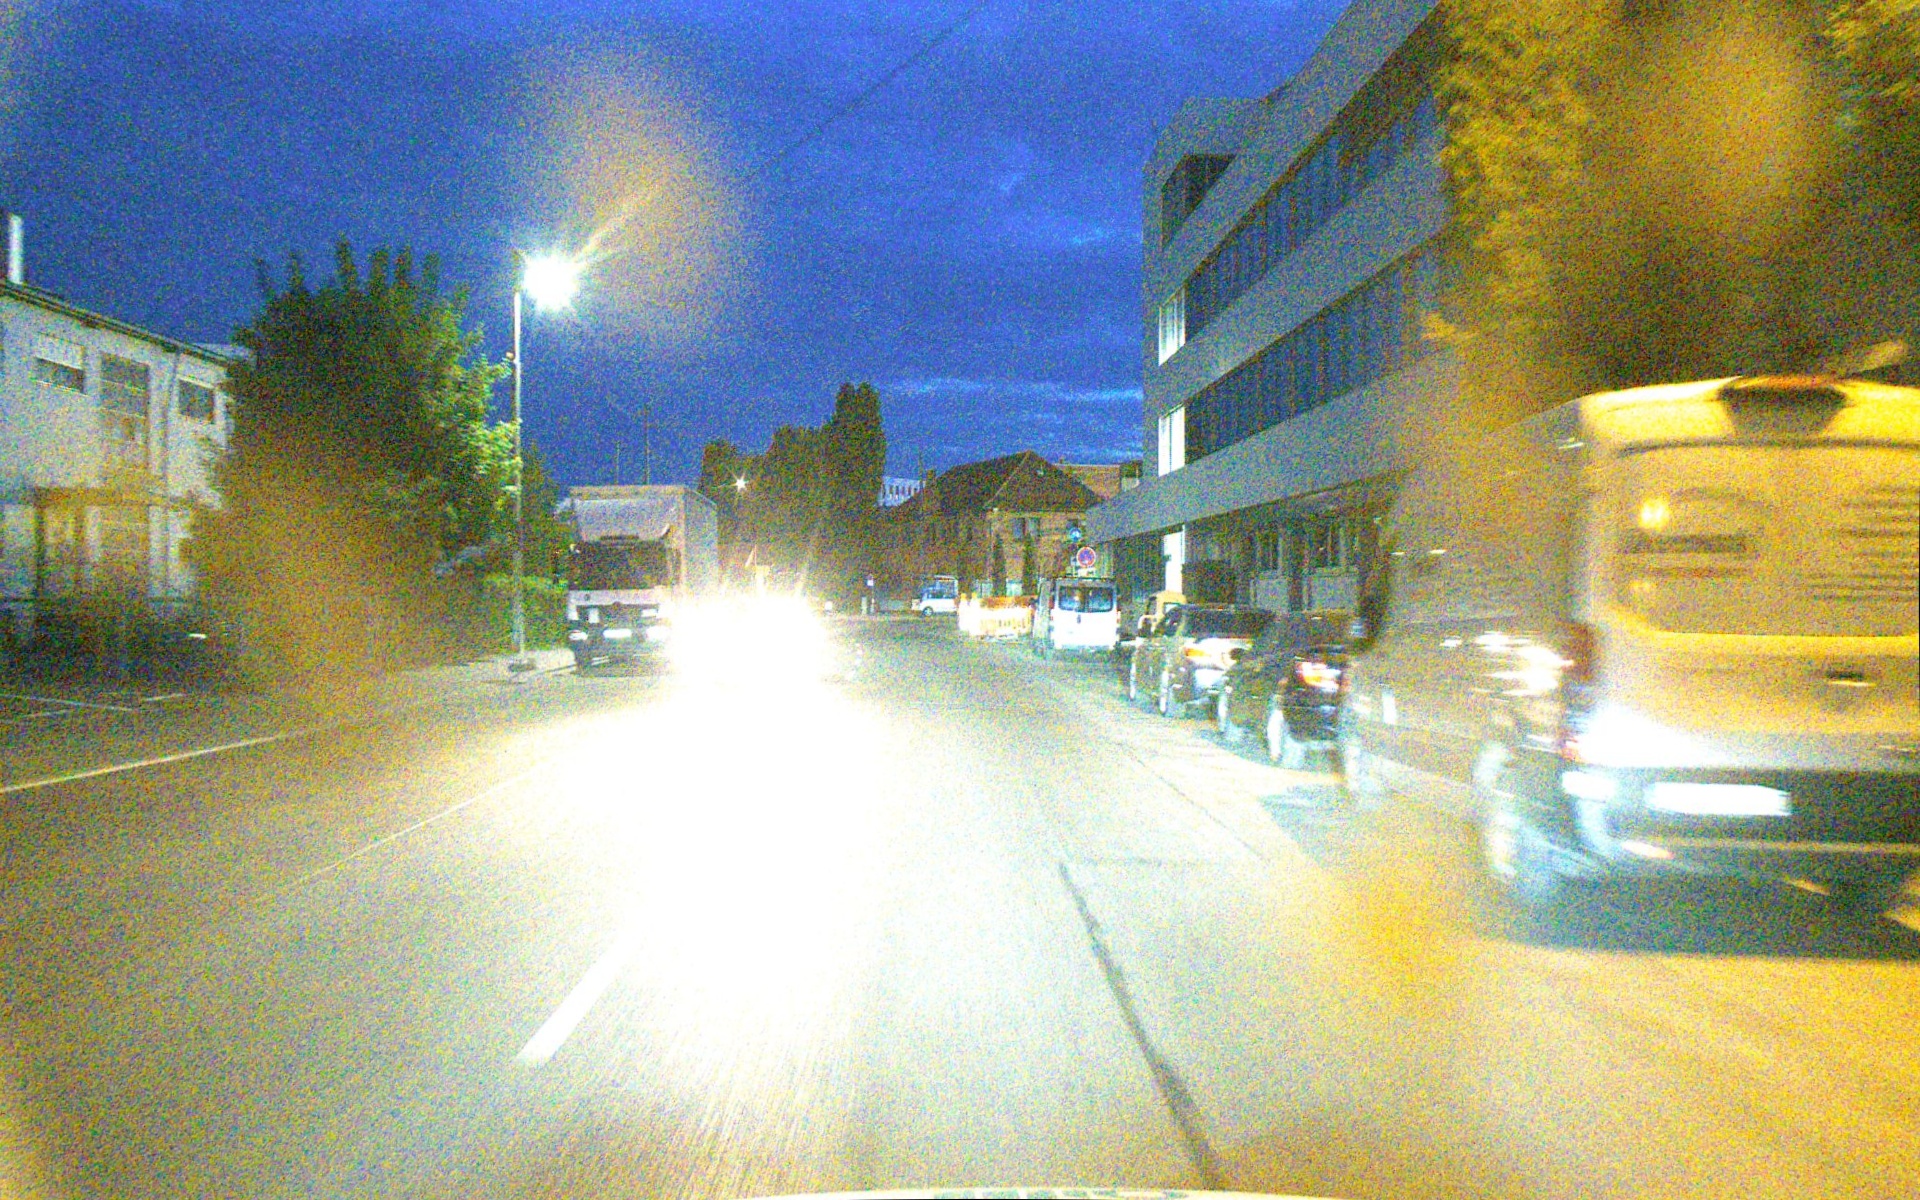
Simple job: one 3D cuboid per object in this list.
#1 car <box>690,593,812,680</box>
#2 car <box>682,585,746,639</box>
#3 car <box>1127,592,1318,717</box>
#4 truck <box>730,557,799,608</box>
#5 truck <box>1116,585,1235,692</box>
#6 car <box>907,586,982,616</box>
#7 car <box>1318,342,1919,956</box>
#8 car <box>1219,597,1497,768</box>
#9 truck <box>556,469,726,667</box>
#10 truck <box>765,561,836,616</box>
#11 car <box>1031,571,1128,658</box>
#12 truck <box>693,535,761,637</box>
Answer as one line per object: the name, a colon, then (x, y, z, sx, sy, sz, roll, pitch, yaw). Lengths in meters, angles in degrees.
car: (-3.645, 0.599, 29.487, 1.820, 1.445, 3.998, 0, 0, -2)
car: (-8.351, 0.377, 56.530, 1.906, 1.747, 5.192, 0, 0, -6)
car: (3.476, 0.659, 22.810, 1.906, 1.515, 5.011, 0, 0, 1)
truck: (-15.478, -1.296, 130.299, 2.717, 3.849, 10.154, 0, 0, -23)
truck: (3.569, 0.607, 27.893, 1.343, 1.673, 3.810, 0, 0, -3)
car: (-0.977, 0.036, 104.312, 4.269, 1.675, 1.878, -3, 2, -24)
car: (3.754, 0.206, 10.057, 1.952, 2.570, 5.911, 3, 0, 2)
car: (3.776, 0.706, 16.472, 1.733, 1.437, 4.550, 0, 0, 1)
truck: (-7.315, -0.671, 39.213, 2.692, 4.104, 9.553, 0, 0, -3)
truck: (-11.738, -0.793, 120.799, 2.717, 3.849, 9.075, 0, 0, -22)
car: (2.944, 0.333, 41.825, 1.953, 2.049, 4.910, -1, 0, -2)
truck: (-10.255, -0.597, 72.477, 2.721, 4.192, 9.322, 0, 0, -9)
